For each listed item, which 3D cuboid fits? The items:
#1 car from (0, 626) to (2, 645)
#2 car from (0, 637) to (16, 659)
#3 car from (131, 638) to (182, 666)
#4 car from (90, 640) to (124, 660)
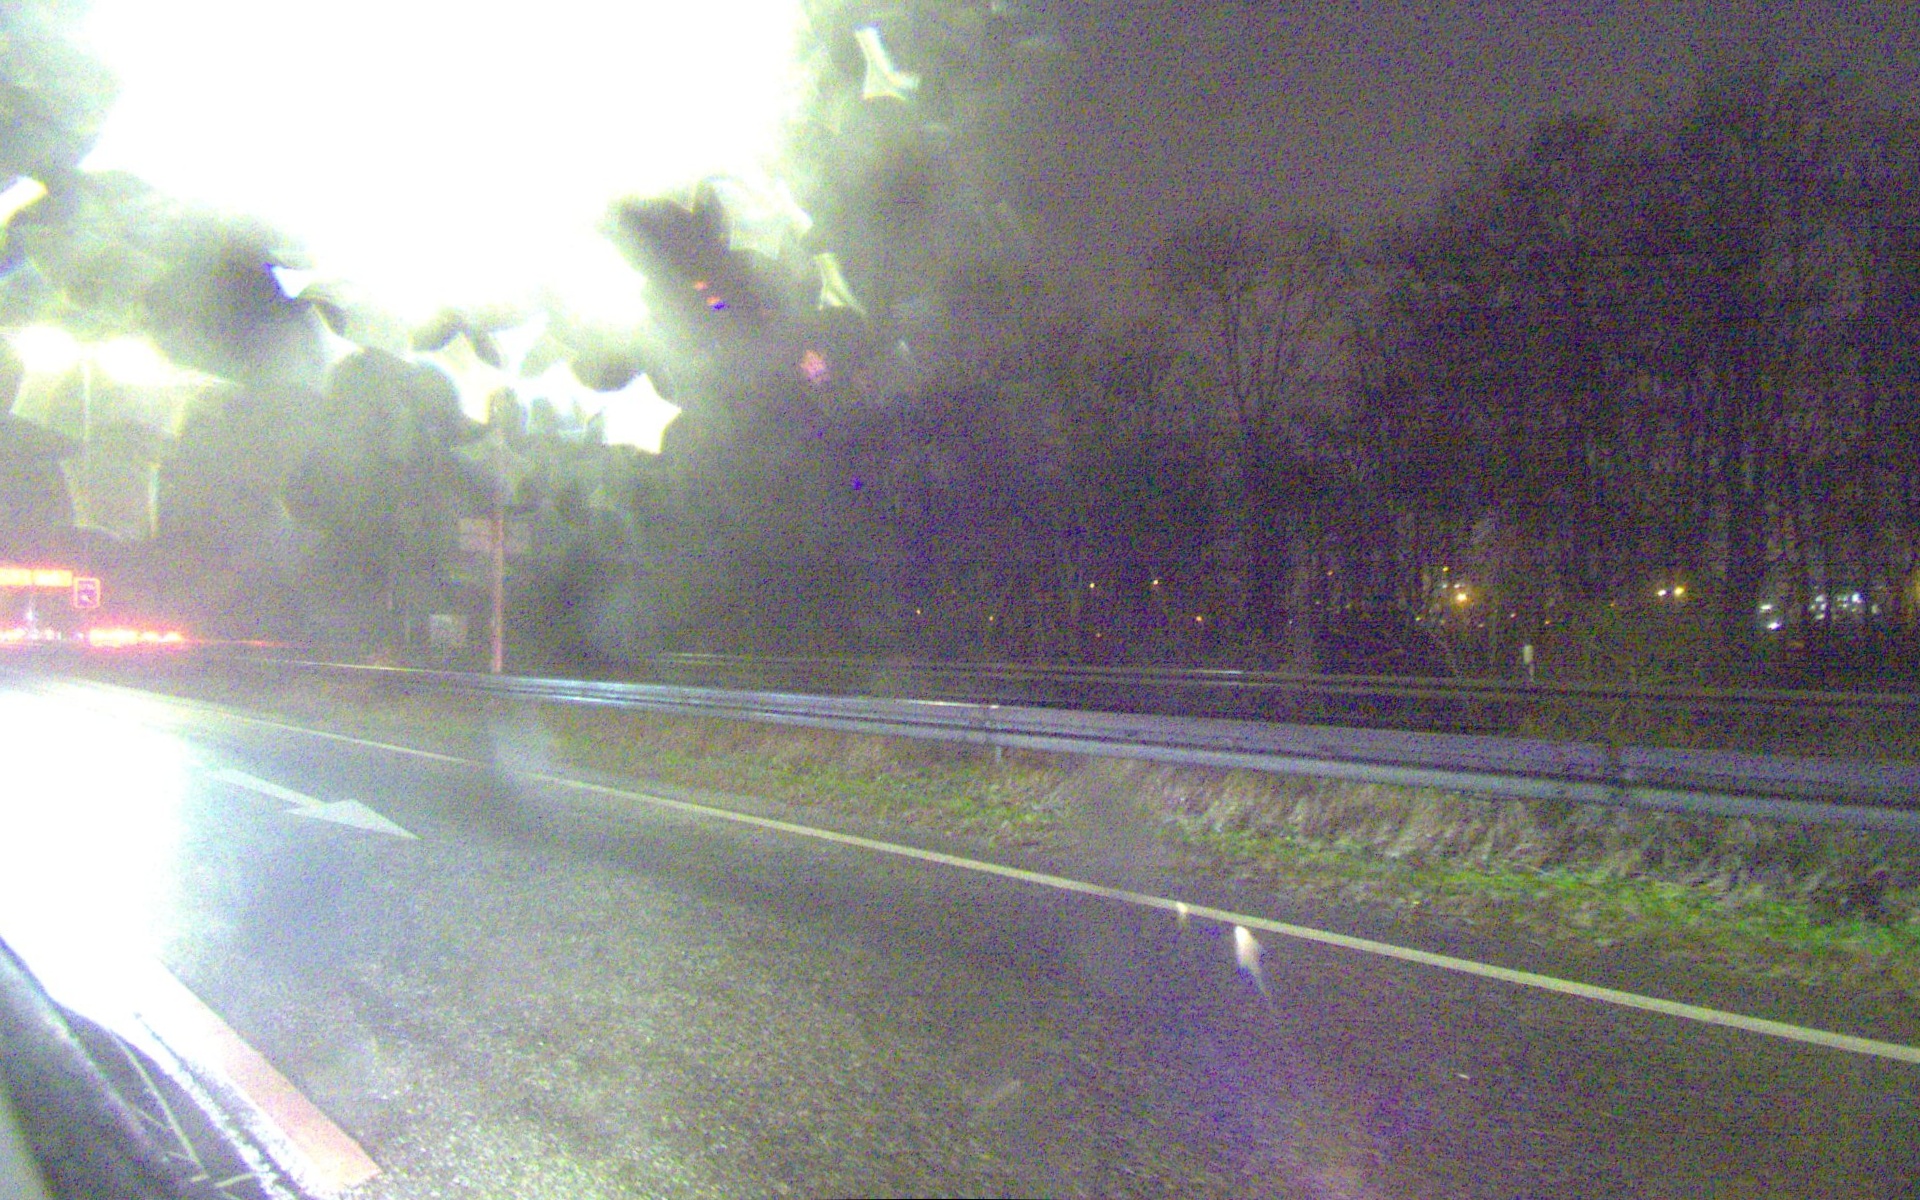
[{"bbox_3d":[-84.600,3.121,87.734,3.996,1.660,1.766,-2,-1,39],"label":"car"},{"bbox_3d":[-73.230,3.642,76.854,3.997,1.660,1.765,-2,-1,40],"label":"car"},{"bbox_3d":[-51.098,3.273,64.346,3.997,1.660,1.843,-2,-1,40],"label":"car"},{"bbox_3d":[-76.405,4.444,90.623,3.999,1.660,1.793,-2,-1,42],"label":"car"}]
